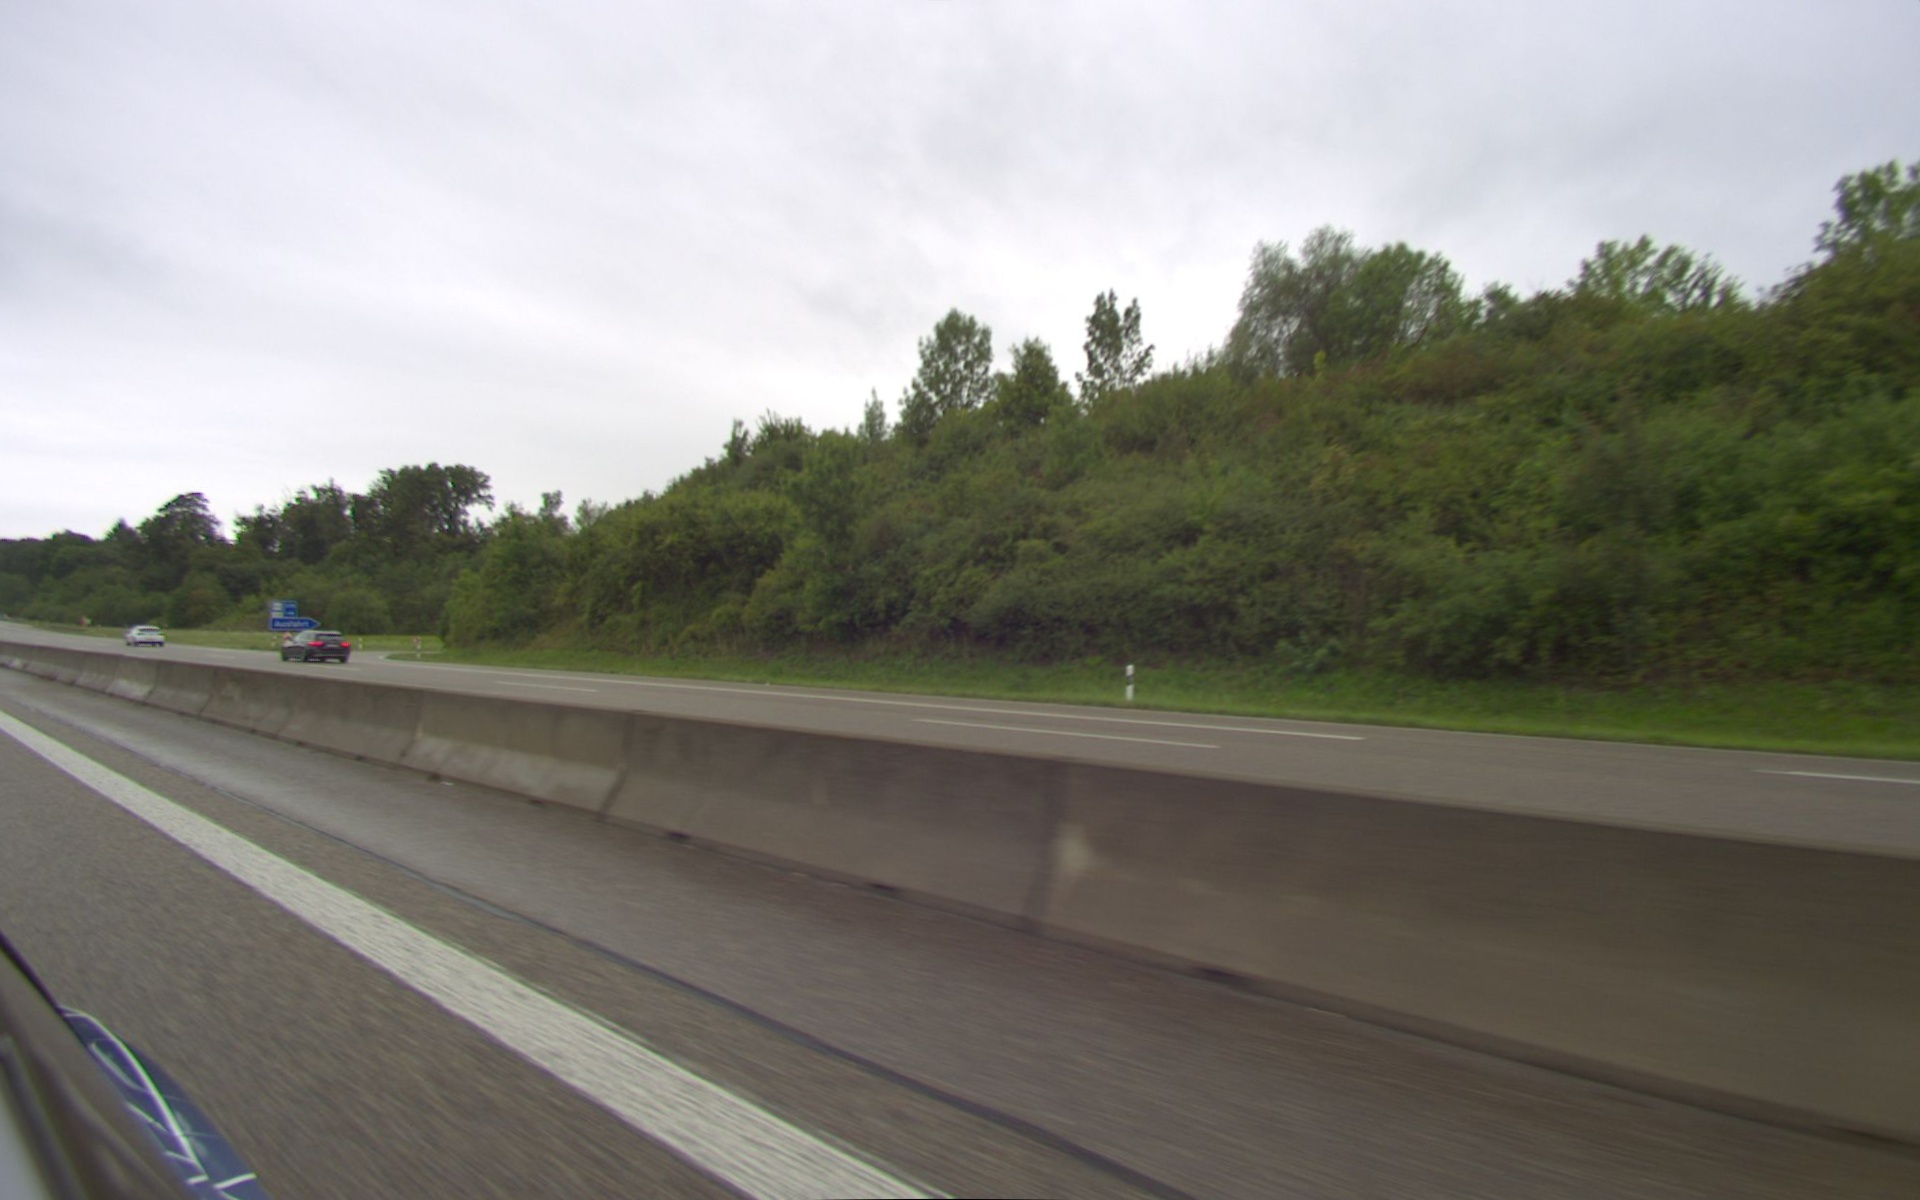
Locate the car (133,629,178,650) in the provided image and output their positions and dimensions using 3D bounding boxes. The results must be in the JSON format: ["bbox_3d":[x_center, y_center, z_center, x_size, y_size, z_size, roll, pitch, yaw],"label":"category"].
[{"bbox_3d":[-60.218,2.946,75.753,4.626,1.461,1.779,-2,-4,41],"label":"car"}]

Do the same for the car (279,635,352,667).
[{"bbox_3d":[-29.839,2.344,46.804,4.468,1.395,1.778,-1,-3,43],"label":"car"}]
